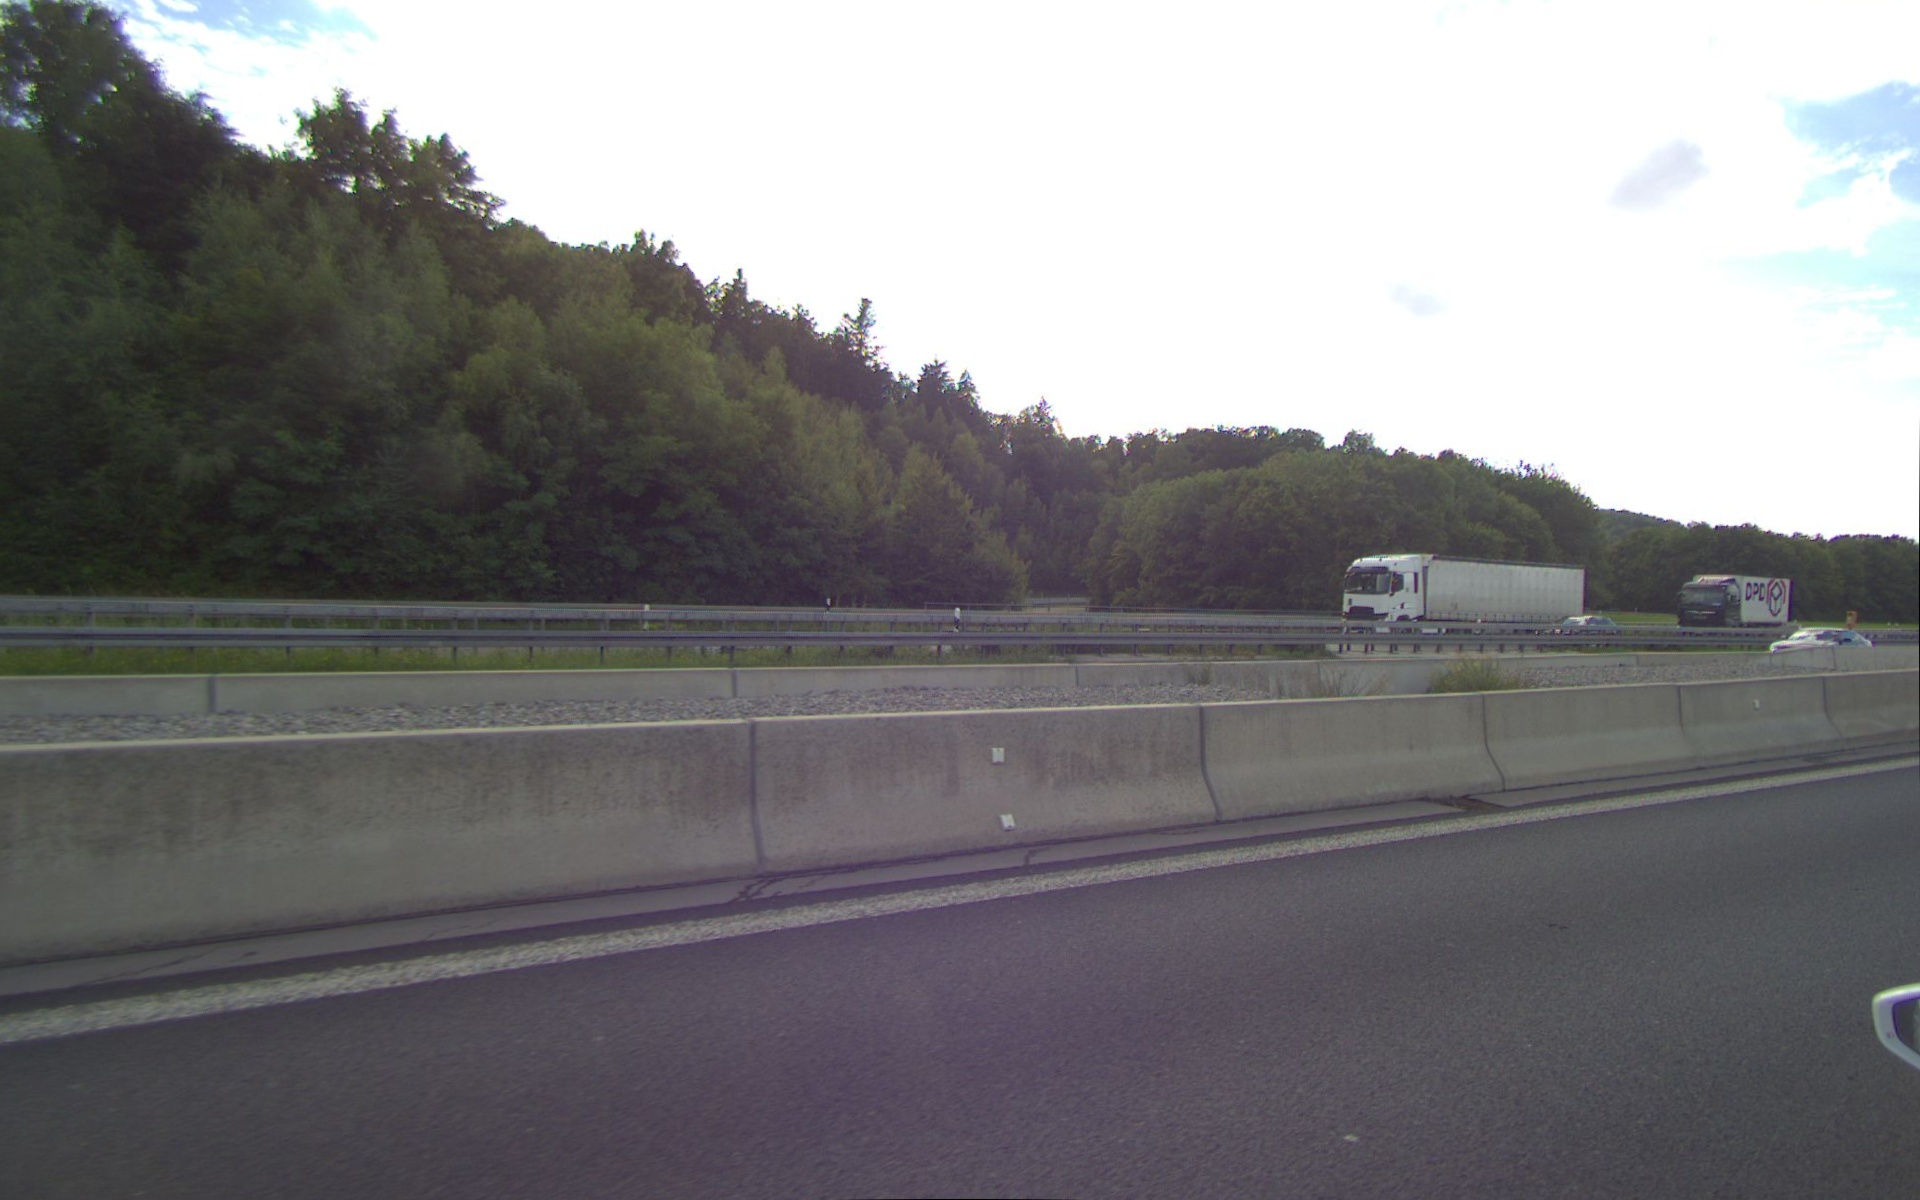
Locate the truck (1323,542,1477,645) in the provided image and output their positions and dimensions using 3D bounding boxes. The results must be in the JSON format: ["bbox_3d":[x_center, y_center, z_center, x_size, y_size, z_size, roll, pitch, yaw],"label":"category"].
[{"bbox_3d":[20.650,-0.216,47.082,6.672,4.349,3.304,3,-1,-31],"label":"truck"}]

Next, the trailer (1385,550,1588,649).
[{"bbox_3d":[26.805,0.101,50.834,12.004,4.349,3.304,3,-1,-31],"label":"trailer"}]

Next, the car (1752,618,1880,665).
[{"bbox_3d":[30.393,1.491,35.620,5.062,1.466,1.866,3,-1,-30],"label":"car"}]

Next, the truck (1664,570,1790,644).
[{"bbox_3d":[46.956,0.504,61.343,10.356,4.021,2.884,3,-1,-34],"label":"truck"}]
